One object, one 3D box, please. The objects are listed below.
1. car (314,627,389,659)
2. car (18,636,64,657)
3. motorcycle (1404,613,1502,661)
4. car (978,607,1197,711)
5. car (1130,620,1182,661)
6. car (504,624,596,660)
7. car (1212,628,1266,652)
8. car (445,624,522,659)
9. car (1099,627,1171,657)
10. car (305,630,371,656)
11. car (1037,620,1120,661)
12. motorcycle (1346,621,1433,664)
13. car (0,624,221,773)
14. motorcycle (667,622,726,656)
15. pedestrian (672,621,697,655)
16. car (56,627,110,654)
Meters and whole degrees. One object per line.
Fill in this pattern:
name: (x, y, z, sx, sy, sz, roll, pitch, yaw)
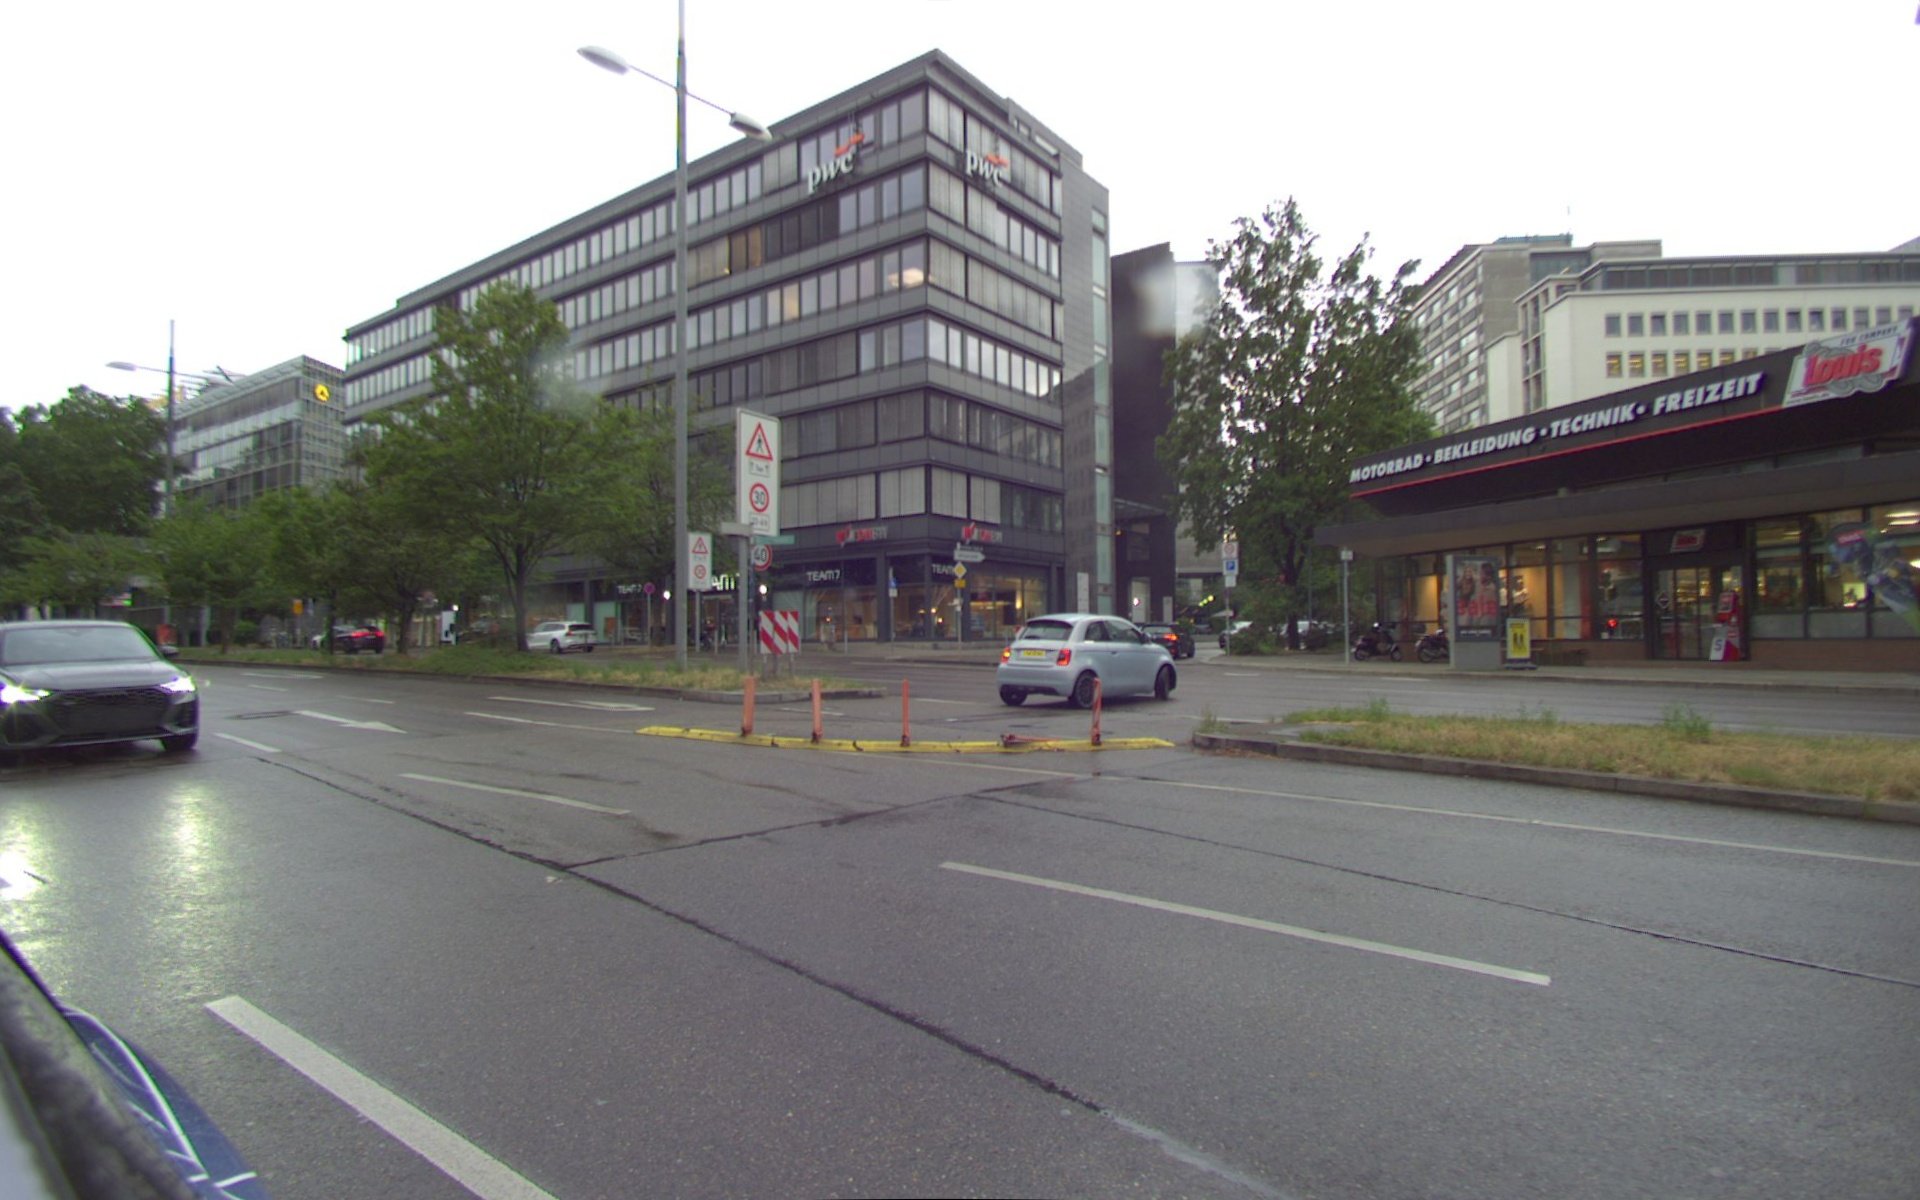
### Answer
car: (-31.578, 2.201, 52.459, 4.478, 1.556, 1.973, -2, -2, 40)
car: (-66.380, 3.339, 73.078, 4.074, 1.442, 1.668, -2, -2, 36)
motorcycle: (15.022, 1.110, 30.837, 2.843, 1.384, 0.806, -1, -1, -16)
car: (2.249, 0.933, 17.355, 3.634, 1.585, 1.791, 1, -2, -42)
car: (7.764, 1.564, 40.458, 1.824, 1.461, 4.675, -2, -1, 9)
car: (-19.178, 1.945, 47.242, 4.765, 1.496, 1.792, -2, 1, 37)
car: (16.846, 2.408, 60.919, 1.844, 1.298, 3.951, -1, -1, 36)
car: (-24.025, 2.067, 51.002, 4.305, 1.673, 1.791, -2, -1, 39)
car: (8.450, 1.999, 48.686, 1.844, 1.298, 3.950, -1, -1, 37)
car: (-37.355, 2.597, 60.735, 4.298, 1.455, 1.794, -2, -1, 34)
car: (5.316, 1.768, 45.087, 1.997, 1.652, 3.950, -1, -1, 37)
motorcycle: (14.321, 1.414, 33.768, 2.773, 1.343, 0.725, -1, -1, -15)
car: (-10.543, 1.031, 11.915, 4.282, 1.446, 1.917, -2, -2, 38)
motorcycle: (-11.593, 1.717, 44.537, 2.344, 1.404, 0.857, -1, 2, 11)
pedestrian: (-13.631, 1.866, 50.130, 0.964, 1.650, 0.776, -2, -2, 37)
car: (-59.428, 2.754, 68.549, 4.483, 1.741, 1.722, -2, -1, 35)
